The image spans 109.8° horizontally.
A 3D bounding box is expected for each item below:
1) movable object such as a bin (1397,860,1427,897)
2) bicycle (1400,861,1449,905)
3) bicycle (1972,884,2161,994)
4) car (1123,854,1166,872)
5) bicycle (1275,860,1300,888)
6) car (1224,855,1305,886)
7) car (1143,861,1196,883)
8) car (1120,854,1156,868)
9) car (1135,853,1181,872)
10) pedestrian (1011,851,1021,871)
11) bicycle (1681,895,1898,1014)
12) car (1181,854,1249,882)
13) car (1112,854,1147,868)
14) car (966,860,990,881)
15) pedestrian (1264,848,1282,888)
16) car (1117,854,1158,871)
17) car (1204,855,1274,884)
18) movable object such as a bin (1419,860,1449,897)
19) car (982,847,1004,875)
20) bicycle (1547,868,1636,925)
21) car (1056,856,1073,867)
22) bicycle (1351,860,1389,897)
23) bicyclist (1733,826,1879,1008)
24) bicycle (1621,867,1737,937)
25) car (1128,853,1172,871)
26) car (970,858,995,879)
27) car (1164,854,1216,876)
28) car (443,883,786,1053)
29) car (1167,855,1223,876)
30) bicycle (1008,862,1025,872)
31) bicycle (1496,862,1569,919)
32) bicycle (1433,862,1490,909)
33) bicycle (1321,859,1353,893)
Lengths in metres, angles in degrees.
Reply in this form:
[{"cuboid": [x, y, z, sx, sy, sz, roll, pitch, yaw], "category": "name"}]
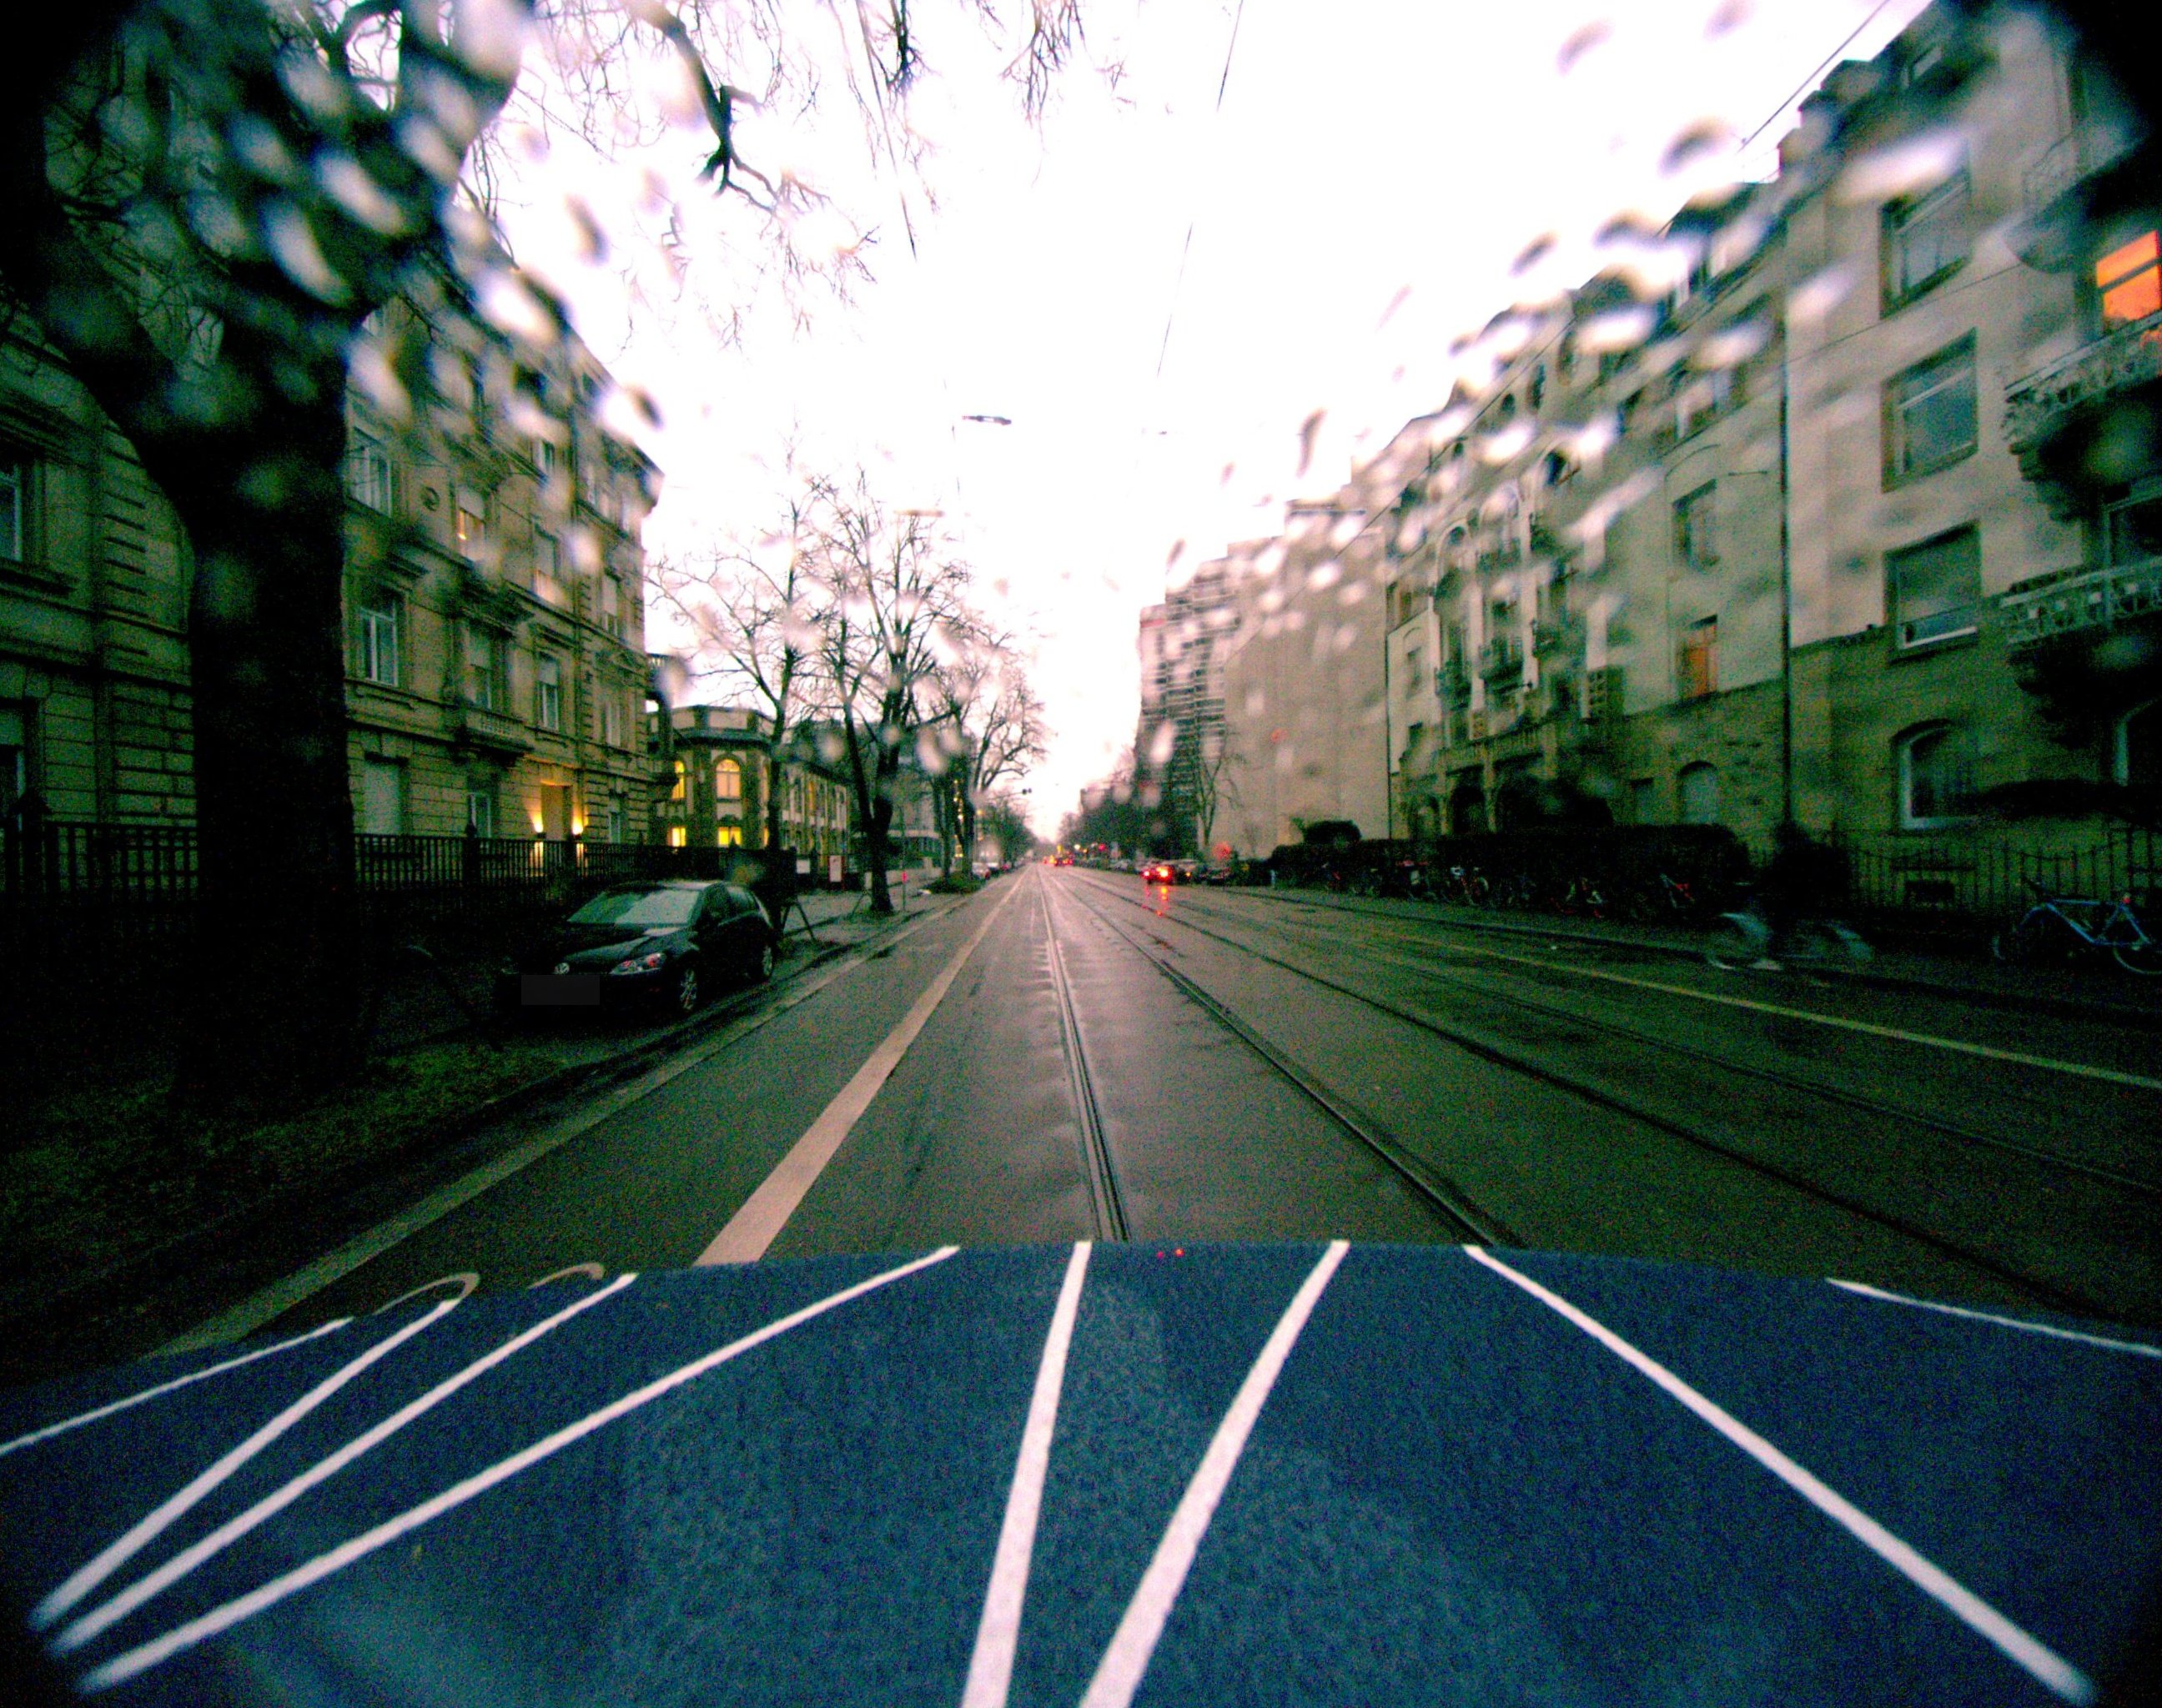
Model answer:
[{"cuboid": [10.605, 0.788, 24.380, 0.659, 1.157, 0.674, -1, 0, -1], "category": "movable object such as a bin"}, {"cuboid": [9.946, 0.818, 22.039, 0.625, 1.205, 1.662, -1, 0, -1], "category": "bicycle"}, {"cuboid": [10.714, 0.851, 8.029, 0.625, 0.997, 1.662, -1, 0, -1], "category": "bicycle"}, {"cuboid": [6.317, 0.895, 75.278, 4.008, 1.586, 1.864, -2, 0, -40], "category": "car"}, {"cuboid": [9.112, 0.876, 33.612, 0.625, 1.157, 1.662, -2, 0, -1], "category": "bicycle"}, {"cuboid": [9.789, 0.854, 40.435, 4.006, 1.485, 1.865, -2, 0, -32], "category": "car"}, {"cuboid": [5.380, 1.040, 45.826, 1.707, 1.245, 3.673, 0, 0, 33], "category": "car"}, {"cuboid": [6.693, 0.815, 89.266, 4.008, 1.586, 1.864, -2, 0, -40], "category": "car"}, {"cuboid": [7.015, 0.768, 69.407, 4.008, 1.586, 1.864, -2, 0, -40], "category": "car"}, {"cuboid": [-7.461, 0.806, 87.331, 1.118, 2.246, 0.952, -2, 1, -6], "category": "pedestrian"}, {"cuboid": [7.903, 1.067, 8.623, 0.625, 1.086, 1.947, -1, 0, -1], "category": "bicycle"}, {"cuboid": [8.101, 0.831, 45.938, 4.008, 1.586, 1.864, -2, 0, -40], "category": "car"}, {"cuboid": [5.867, 0.810, 91.186, 4.008, 1.586, 1.864, -2, 0, -40], "category": "car"}, {"cuboid": [-7.666, 1.195, 56.853, 1.628, 1.399, 3.997, -2, 1, -6], "category": "car"}, {"cuboid": [8.464, 0.617, 33.578, 0.574, 1.715, 0.644, -3, 2, 1], "category": "pedestrian"}, {"cuboid": [5.758, 0.877, 77.646, 4.008, 1.586, 1.864, -2, 0, -40], "category": "car"}, {"cuboid": [8.924, 0.867, 42.800, 4.008, 1.477, 1.760, -2, 0, -40], "category": "car"}, {"cuboid": [11.347, 0.773, 24.438, 0.625, 1.157, 0.674, -1, 0, -1], "category": "movable object such as a bin"}, {"cuboid": [-8.874, 0.645, 76.865, 2.094, 2.622, 5.446, -2, 1, -6], "category": "car"}, {"cuboid": [10.354, 0.835, 15.489, 0.625, 1.059, 1.726, -1, 0, -1], "category": "bicycle"}, {"cuboid": [-3.139, 1.416, 147.882, 2.236, 2.002, 4.464, -2, 1, 12], "category": "car"}, {"cuboid": [9.824, 0.814, 25.858, 0.625, 1.205, 1.662, -1, 0, -1], "category": "bicycle"}, {"cuboid": [7.895, 0.653, 8.322, 0.625, 1.865, 0.991, -1, 0, -1], "category": "bicyclist"}, {"cuboid": [10.510, 0.809, 13.446, 0.625, 1.119, 1.783, -1, 0, -1], "category": "bicycle"}, {"cuboid": [6.619, 0.758, 72.669, 4.008, 1.586, 1.864, -2, 0, -40], "category": "car"}, {"cuboid": [-8.638, 1.227, 66.828, 2.000, 1.672, 3.997, -2, 1, -6], "category": "car"}, {"cuboid": [8.695, 0.843, 60.468, 4.008, 1.586, 1.864, -2, 0, -40], "category": "car"}, {"cuboid": [-5.095, 1.134, 9.079, 1.762, 1.437, 4.156, 1, -1, -4], "category": "car"}, {"cuboid": [8.471, 0.825, 56.406, 4.008, 1.440, 1.864, -2, 0, -40], "category": "car"}, {"cuboid": [-7.439, 1.473, 87.346, 1.918, 0.986, 0.858, -2, 1, -5], "category": "bicycle"}, {"cuboid": [10.221, 0.789, 17.260, 0.625, 1.205, 1.662, -1, 0, -1], "category": "bicycle"}, {"cuboid": [9.999, 0.810, 20.034, 0.625, 1.157, 1.662, -1, 0, -1], "category": "bicycle"}, {"cuboid": [9.529, 0.817, 28.340, 0.625, 1.205, 1.662, -1, 0, -1], "category": "bicycle"}]
